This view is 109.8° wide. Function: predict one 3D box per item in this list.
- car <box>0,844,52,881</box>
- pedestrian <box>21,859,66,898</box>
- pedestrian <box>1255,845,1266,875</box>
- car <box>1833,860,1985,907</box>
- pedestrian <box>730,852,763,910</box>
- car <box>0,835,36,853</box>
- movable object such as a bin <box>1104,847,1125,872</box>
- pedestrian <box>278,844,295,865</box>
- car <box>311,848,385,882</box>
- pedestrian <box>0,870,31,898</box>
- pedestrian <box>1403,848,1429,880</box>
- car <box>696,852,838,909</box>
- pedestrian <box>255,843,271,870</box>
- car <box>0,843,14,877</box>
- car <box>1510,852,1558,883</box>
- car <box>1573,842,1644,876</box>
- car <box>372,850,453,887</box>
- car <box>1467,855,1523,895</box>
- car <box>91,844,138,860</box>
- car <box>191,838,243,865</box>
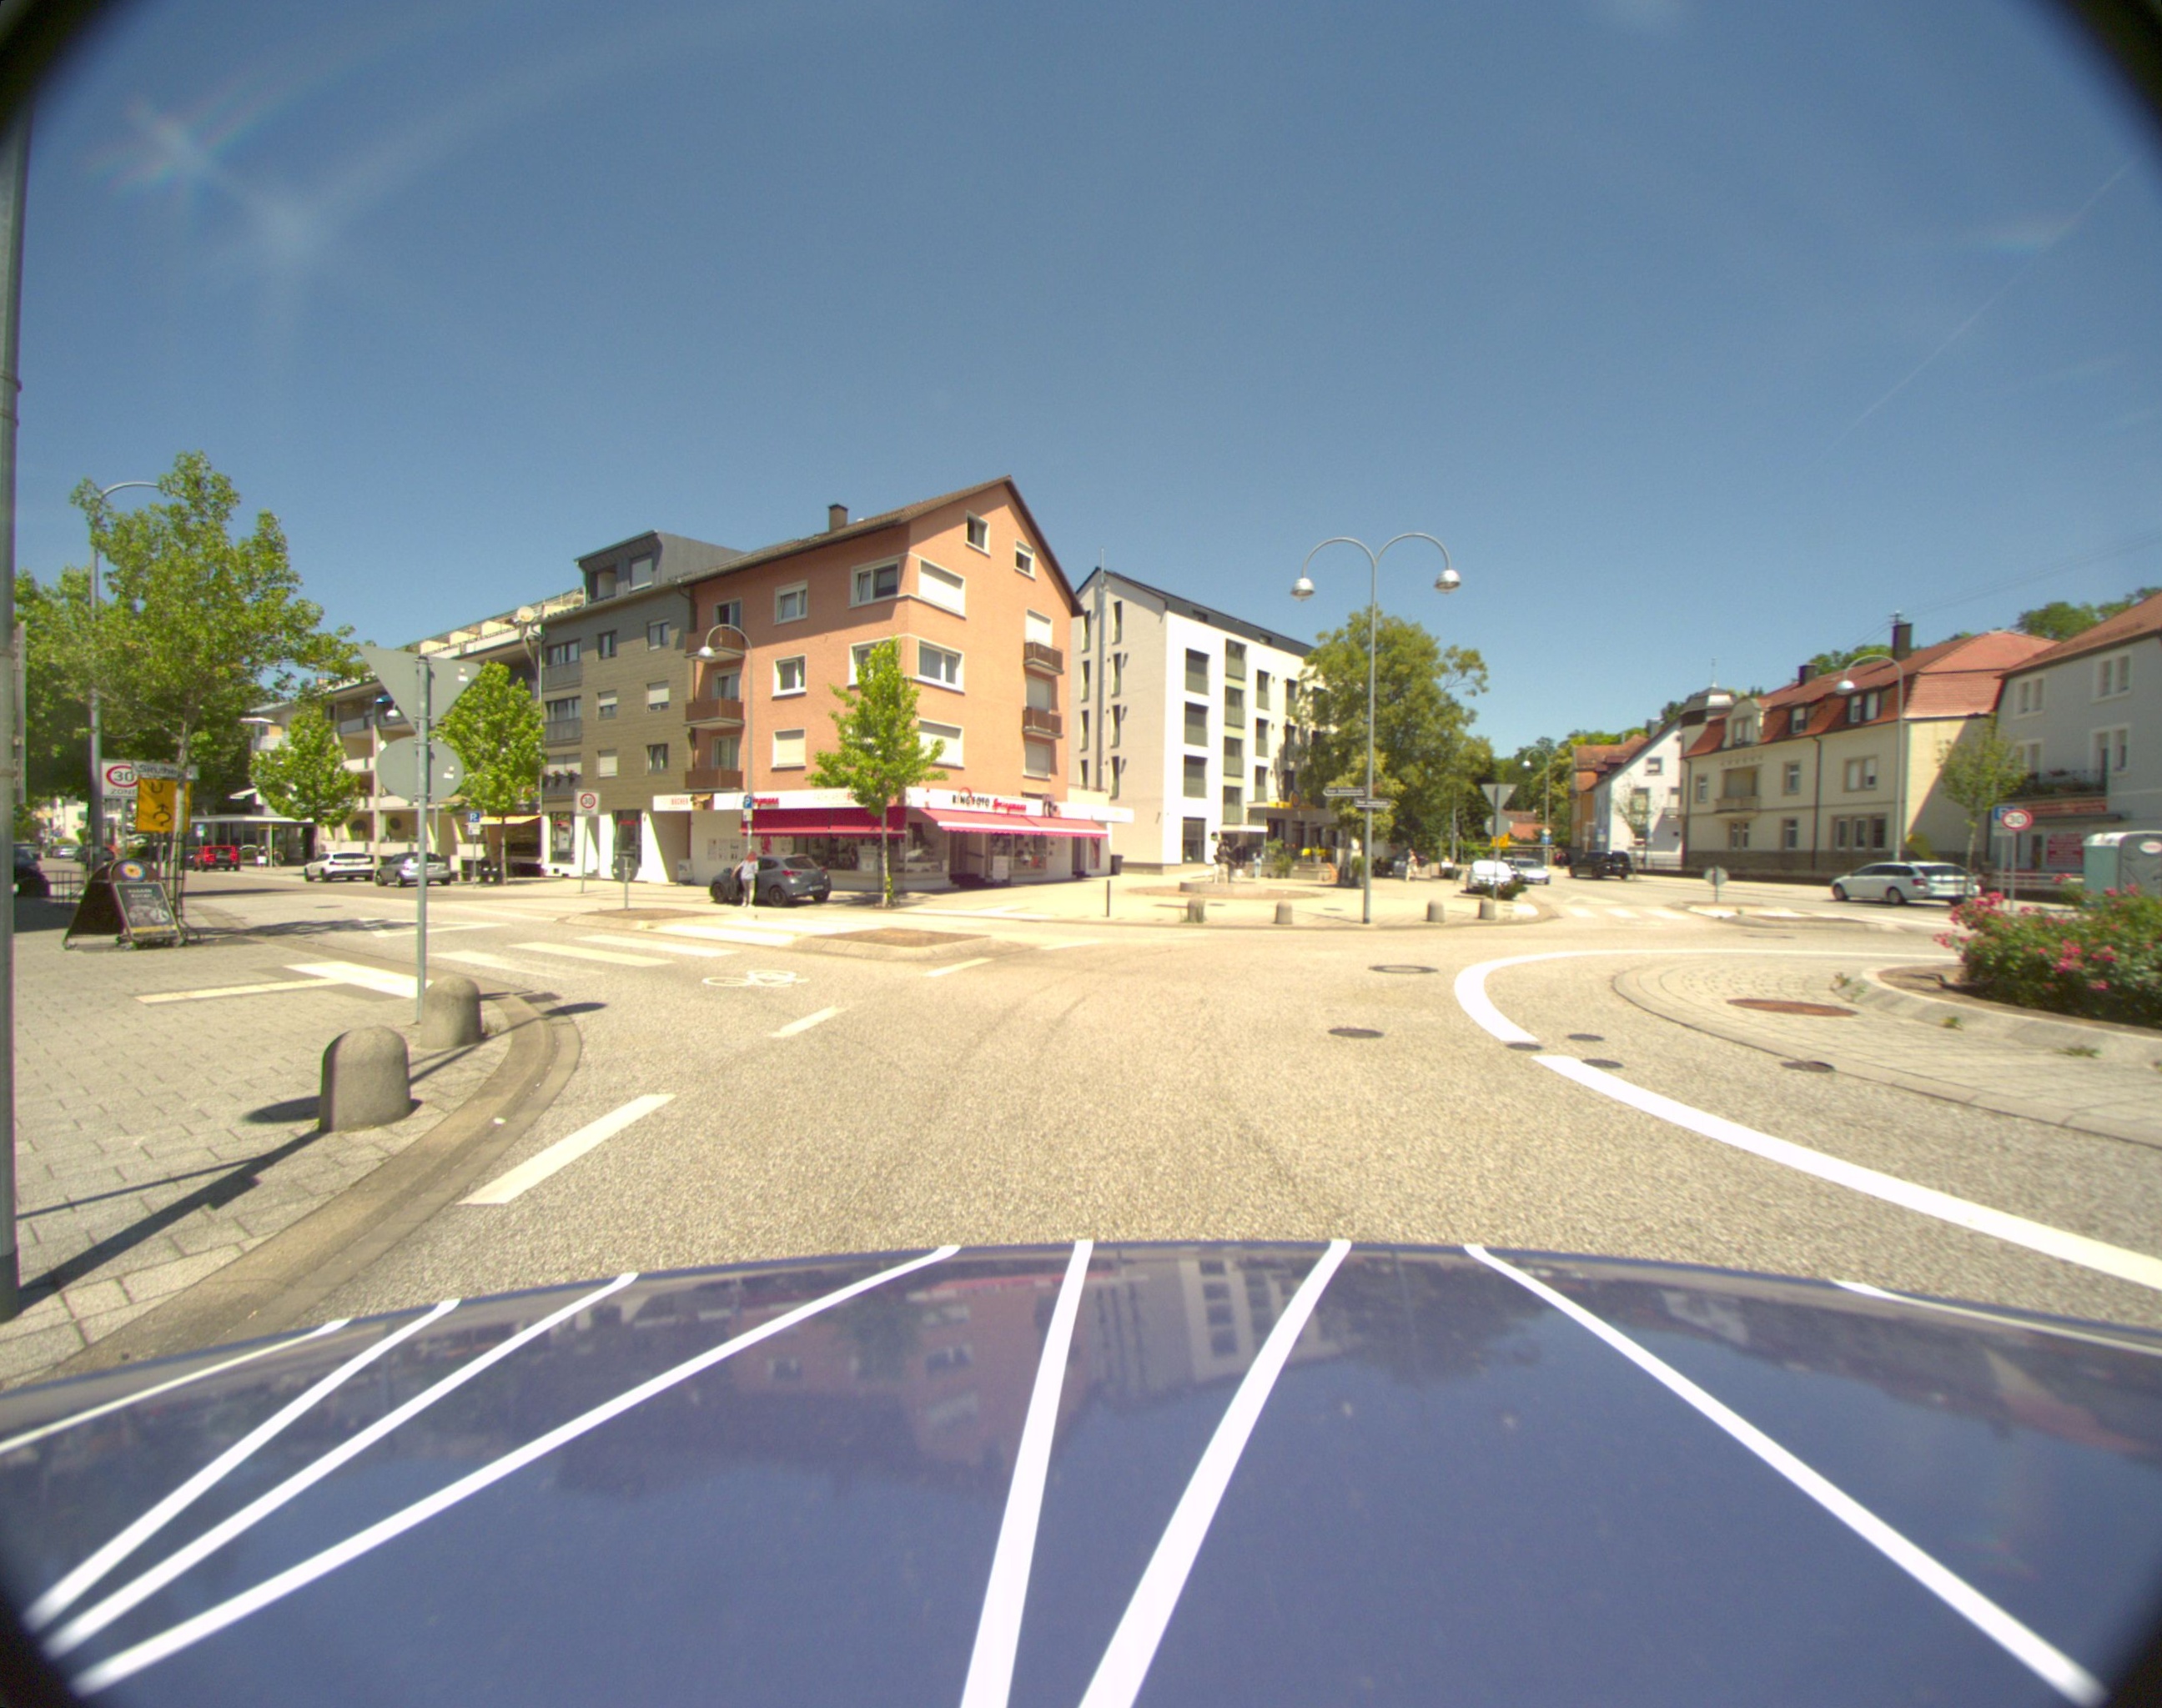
[{"bbox_3d":[-51.272,0.387,36.464,3.989,1.711,1.698,1,-1,29],"label":"car"},{"bbox_3d":[-33.184,0.769,24.311,0.764,1.233,0.536,0,1,-44],"label":"pedestrian"},{"bbox_3d":[9.570,0.328,40.484,0.449,1.609,0.452,1,1,30],"label":"pedestrian"},{"bbox_3d":[28.296,0.962,26.168,1.606,1.384,4.083,-2,0,16],"label":"car"},{"bbox_3d":[-9.464,0.738,21.490,0.736,1.600,0.557,0,1,-40],"label":"pedestrian"},{"bbox_3d":[-104.617,-0.964,74.564,4.743,1.744,1.911,1,0,29],"label":"car"},{"bbox_3d":[1.667,0.263,37.908,0.745,1.245,0.839,1,1,34],"label":"movable object such as a bin"},{"bbox_3d":[-54.997,0.036,52.573,0.695,1.490,0.781,1,1,43],"label":"pedestrian"},{"bbox_3d":[-36.937,0.508,38.262,4.287,1.583,1.704,1,1,32],"label":"car"},{"bbox_3d":[-33.982,0.949,24.129,0.536,0.847,0.681,2,1,44],"label":"pedestrian"},{"bbox_3d":[17.566,0.506,39.883,0.819,1.639,0.949,0,1,-13],"label":"pedestrian"},{"bbox_3d":[-9.345,0.724,22.568,4.049,1.478,1.675,1,4,28],"label":"car"},{"bbox_3d":[-55.465,0.170,51.506,0.670,1.794,0.683,-1,1,-43],"label":"pedestrian"},{"bbox_3d":[-56.331,0.295,38.793,4.122,1.712,1.697,1,1,29],"label":"car"},{"bbox_3d":[26.366,0.728,44.335,1.995,1.646,4.211,1,1,26],"label":"car"},{"bbox_3d":[33.476,0.273,48.402,1.997,2.003,4.000,0,3,6],"label":"car"},{"bbox_3d":[-28.393,0.589,32.253,3.538,1.465,1.630,1,1,32],"label":"car"},{"bbox_3d":[17.312,0.815,31.906,1.792,1.516,4.007,1,1,25],"label":"car"},{"bbox_3d":[-91.787,-0.206,72.157,3.989,1.412,2.004,1,1,27],"label":"car"},{"bbox_3d":[-57.058,-0.179,50.175,3.360,1.653,1.648,1,3,32],"label":"car"}]
